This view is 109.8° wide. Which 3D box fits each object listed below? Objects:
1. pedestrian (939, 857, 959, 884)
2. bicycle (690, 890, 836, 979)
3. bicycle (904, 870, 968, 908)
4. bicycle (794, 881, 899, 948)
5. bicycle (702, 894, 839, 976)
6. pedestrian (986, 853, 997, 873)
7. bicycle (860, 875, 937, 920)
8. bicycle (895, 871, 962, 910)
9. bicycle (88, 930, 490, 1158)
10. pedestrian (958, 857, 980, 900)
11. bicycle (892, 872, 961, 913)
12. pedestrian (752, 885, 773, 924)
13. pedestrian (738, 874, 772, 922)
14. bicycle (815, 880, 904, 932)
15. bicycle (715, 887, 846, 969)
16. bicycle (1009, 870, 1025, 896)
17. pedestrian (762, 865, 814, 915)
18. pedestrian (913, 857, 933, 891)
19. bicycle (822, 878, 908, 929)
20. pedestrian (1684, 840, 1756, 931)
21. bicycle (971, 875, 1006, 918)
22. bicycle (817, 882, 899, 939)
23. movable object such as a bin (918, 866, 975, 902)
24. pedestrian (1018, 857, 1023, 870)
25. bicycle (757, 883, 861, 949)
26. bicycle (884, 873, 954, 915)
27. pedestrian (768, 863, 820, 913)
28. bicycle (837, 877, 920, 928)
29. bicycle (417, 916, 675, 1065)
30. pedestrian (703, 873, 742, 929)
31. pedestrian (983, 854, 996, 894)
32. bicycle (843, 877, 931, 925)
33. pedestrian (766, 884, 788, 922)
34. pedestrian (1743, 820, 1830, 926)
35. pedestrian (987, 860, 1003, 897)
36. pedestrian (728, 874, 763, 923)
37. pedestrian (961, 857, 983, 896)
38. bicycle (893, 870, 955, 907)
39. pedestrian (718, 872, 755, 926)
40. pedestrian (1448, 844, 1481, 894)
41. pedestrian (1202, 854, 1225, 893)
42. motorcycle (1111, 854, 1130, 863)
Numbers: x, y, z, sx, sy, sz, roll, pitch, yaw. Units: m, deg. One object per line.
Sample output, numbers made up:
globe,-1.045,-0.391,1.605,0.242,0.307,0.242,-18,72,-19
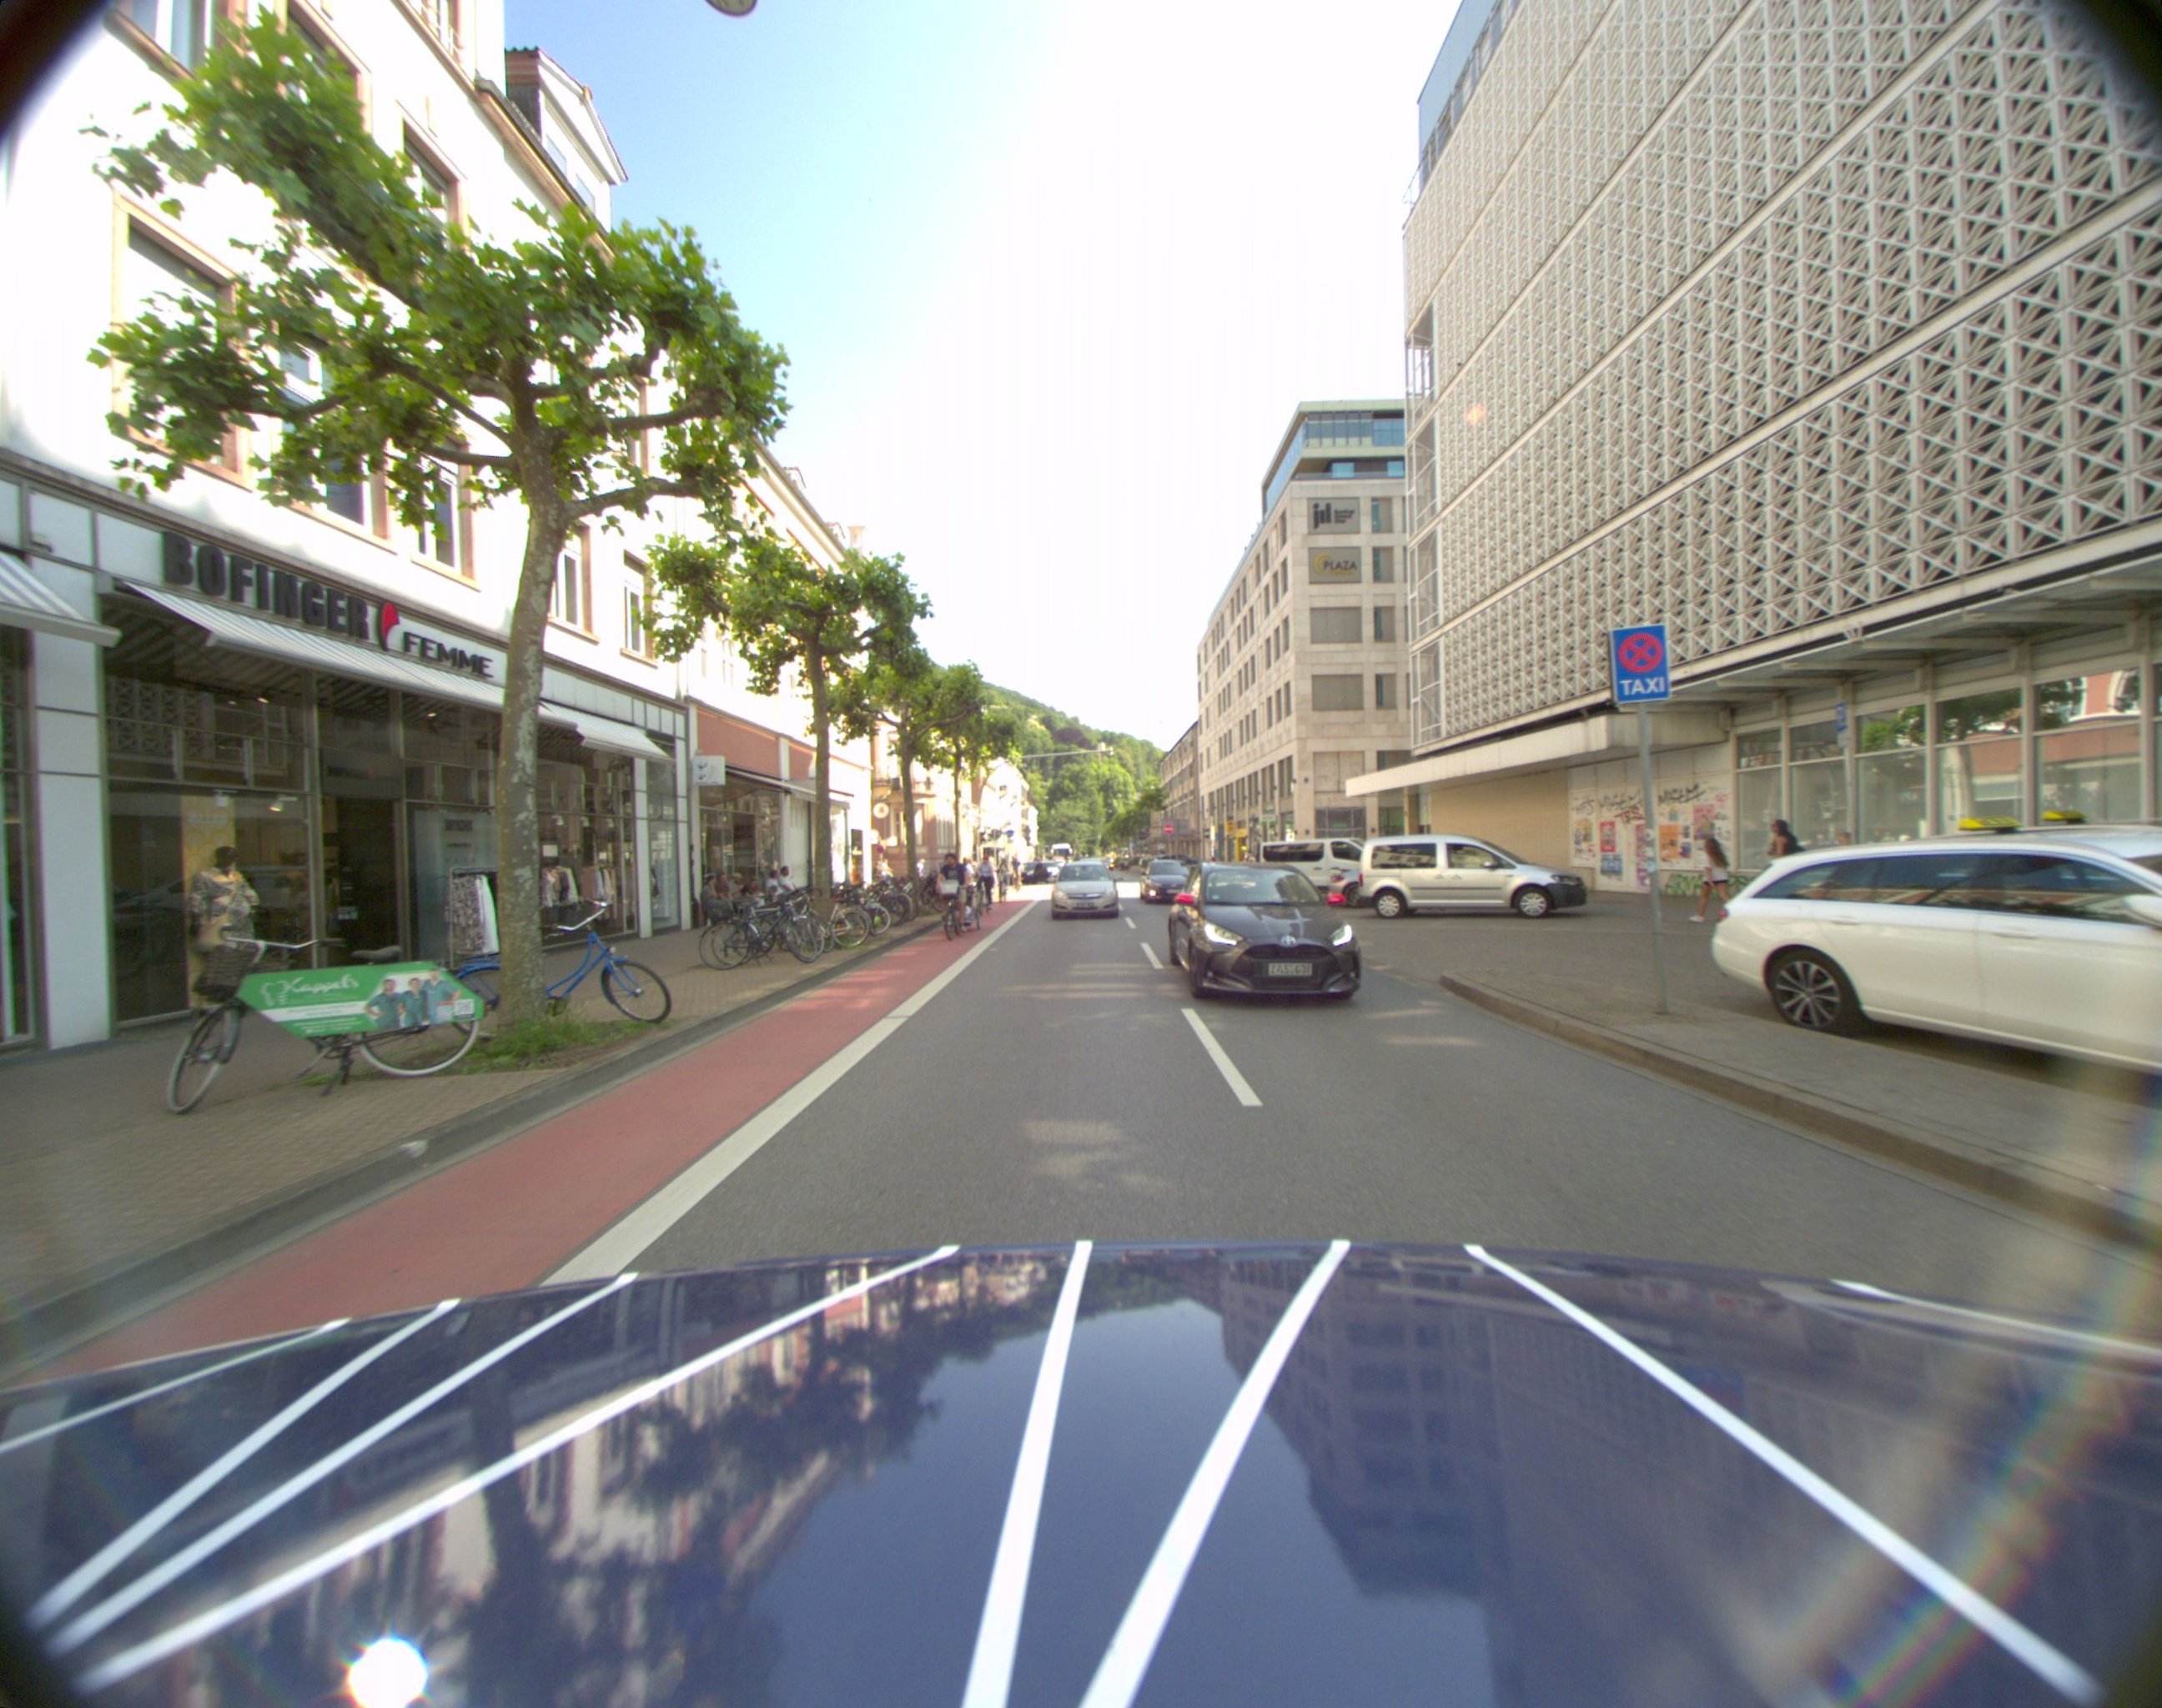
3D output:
pedestrian,-8.095,1.011,46.627,0.904,1.603,0.974,-1,4,-28
bicycle,-4.718,1.180,11.372,1.846,1.120,0.632,-4,1,-10
bicycle,-4.609,1.112,24.217,1.844,1.120,0.643,-1,2,2
bicycle,-4.595,1.156,14.939,1.849,1.120,0.592,-2,2,-35
bicycle,-4.810,1.241,11.873,1.846,1.087,0.564,-3,1,-10
pedestrian,-7.999,0.824,68.026,0.840,1.781,0.767,-1,1,1
bicycle,-4.863,1.149,20.319,1.844,1.120,0.679,-2,2,2
bicycle,-4.640,1.112,23.170,1.844,1.120,0.666,-1,2,2
bicycle,-5.306,1.219,5.259,1.783,1.190,0.576,-3,1,-27
pedestrian,-4.809,1.044,32.736,0.789,1.784,0.641,-3,0,-2
bicycle,-4.523,1.134,22.357,1.844,1.120,0.666,-1,2,2
pedestrian,-8.294,1.309,19.794,0.342,0.962,0.437,-2,1,2
pedestrian,-8.828,1.182,20.583,0.641,1.246,0.608,0,2,-2
bicycle,-5.025,1.179,17.275,1.844,1.120,0.448,-1,2,3
bicycle,-4.943,1.197,12.616,1.846,1.121,0.764,-4,2,-12
bicycle,-3.113,1.390,37.083,0.607,1.121,1.859,0,2,2
pedestrian,-8.767,1.064,22.761,1.236,1.414,0.789,-1,2,-2
pedestrian,-7.819,1.000,37.558,0.640,1.648,0.791,-2,-1,14
bicycle,-5.039,1.151,17.734,1.844,1.120,0.448,-1,2,3
pedestrian,10.604,0.500,12.626,0.594,1.428,0.641,-4,2,-2
bicycle,-2.702,1.235,22.434,0.737,1.120,2.033,-2,0,1
bicycle,-4.702,1.163,15.969,1.841,1.120,0.449,0,2,29
movable object such as a bin,-4.856,1.075,27.435,1.853,1.182,0.653,-3,0,16
pedestrian,-7.600,1.168,95.899,0.482,1.659,0.868,-1,1,0
bicycle,-5.343,1.200,15.000,1.849,1.120,0.447,-2,2,-36
bicycle,-4.612,1.143,21.667,1.844,1.120,0.530,-1,2,2
pedestrian,-8.917,1.041,23.624,1.255,1.475,0.837,-2,1,-2
bicycle,-4.929,1.180,18.534,1.843,1.120,0.530,-3,1,13
bicycle,-4.806,1.210,6.918,1.845,1.120,0.497,-4,0,-7
pedestrian,-8.886,1.155,18.844,0.683,1.325,0.532,-2,1,-2
pedestrian,-4.102,0.894,34.010,0.453,1.784,0.608,-3,0,-2
bicycle,-4.907,1.183,19.248,1.988,1.120,0.762,-1,2,13
pedestrian,-8.185,1.316,20.460,0.365,0.962,0.437,-2,1,2
pedestrian,11.656,0.302,12.571,0.789,1.651,0.641,-4,2,-2
pedestrian,-4.123,1.177,36.478,0.641,1.700,0.789,2,3,-3
pedestrian,-8.821,1.165,19.985,0.683,1.246,0.532,0,0,-2
pedestrian,-4.810,0.994,33.556,0.789,1.680,0.641,-2,0,-2
bicycle,-5.105,1.111,24.829,1.844,1.120,0.666,-1,2,2
pedestrian,-8.799,1.142,19.440,0.683,1.330,0.532,-1,1,-2
pedestrian,12.943,0.492,25.660,0.589,1.626,0.863,-3,1,0
pedestrian,5.403,0.778,30.995,0.641,1.550,0.680,-3,0,-11
motorcycle,6.099,0.671,116.776,0.980,1.342,3.094,-1,1,-43
